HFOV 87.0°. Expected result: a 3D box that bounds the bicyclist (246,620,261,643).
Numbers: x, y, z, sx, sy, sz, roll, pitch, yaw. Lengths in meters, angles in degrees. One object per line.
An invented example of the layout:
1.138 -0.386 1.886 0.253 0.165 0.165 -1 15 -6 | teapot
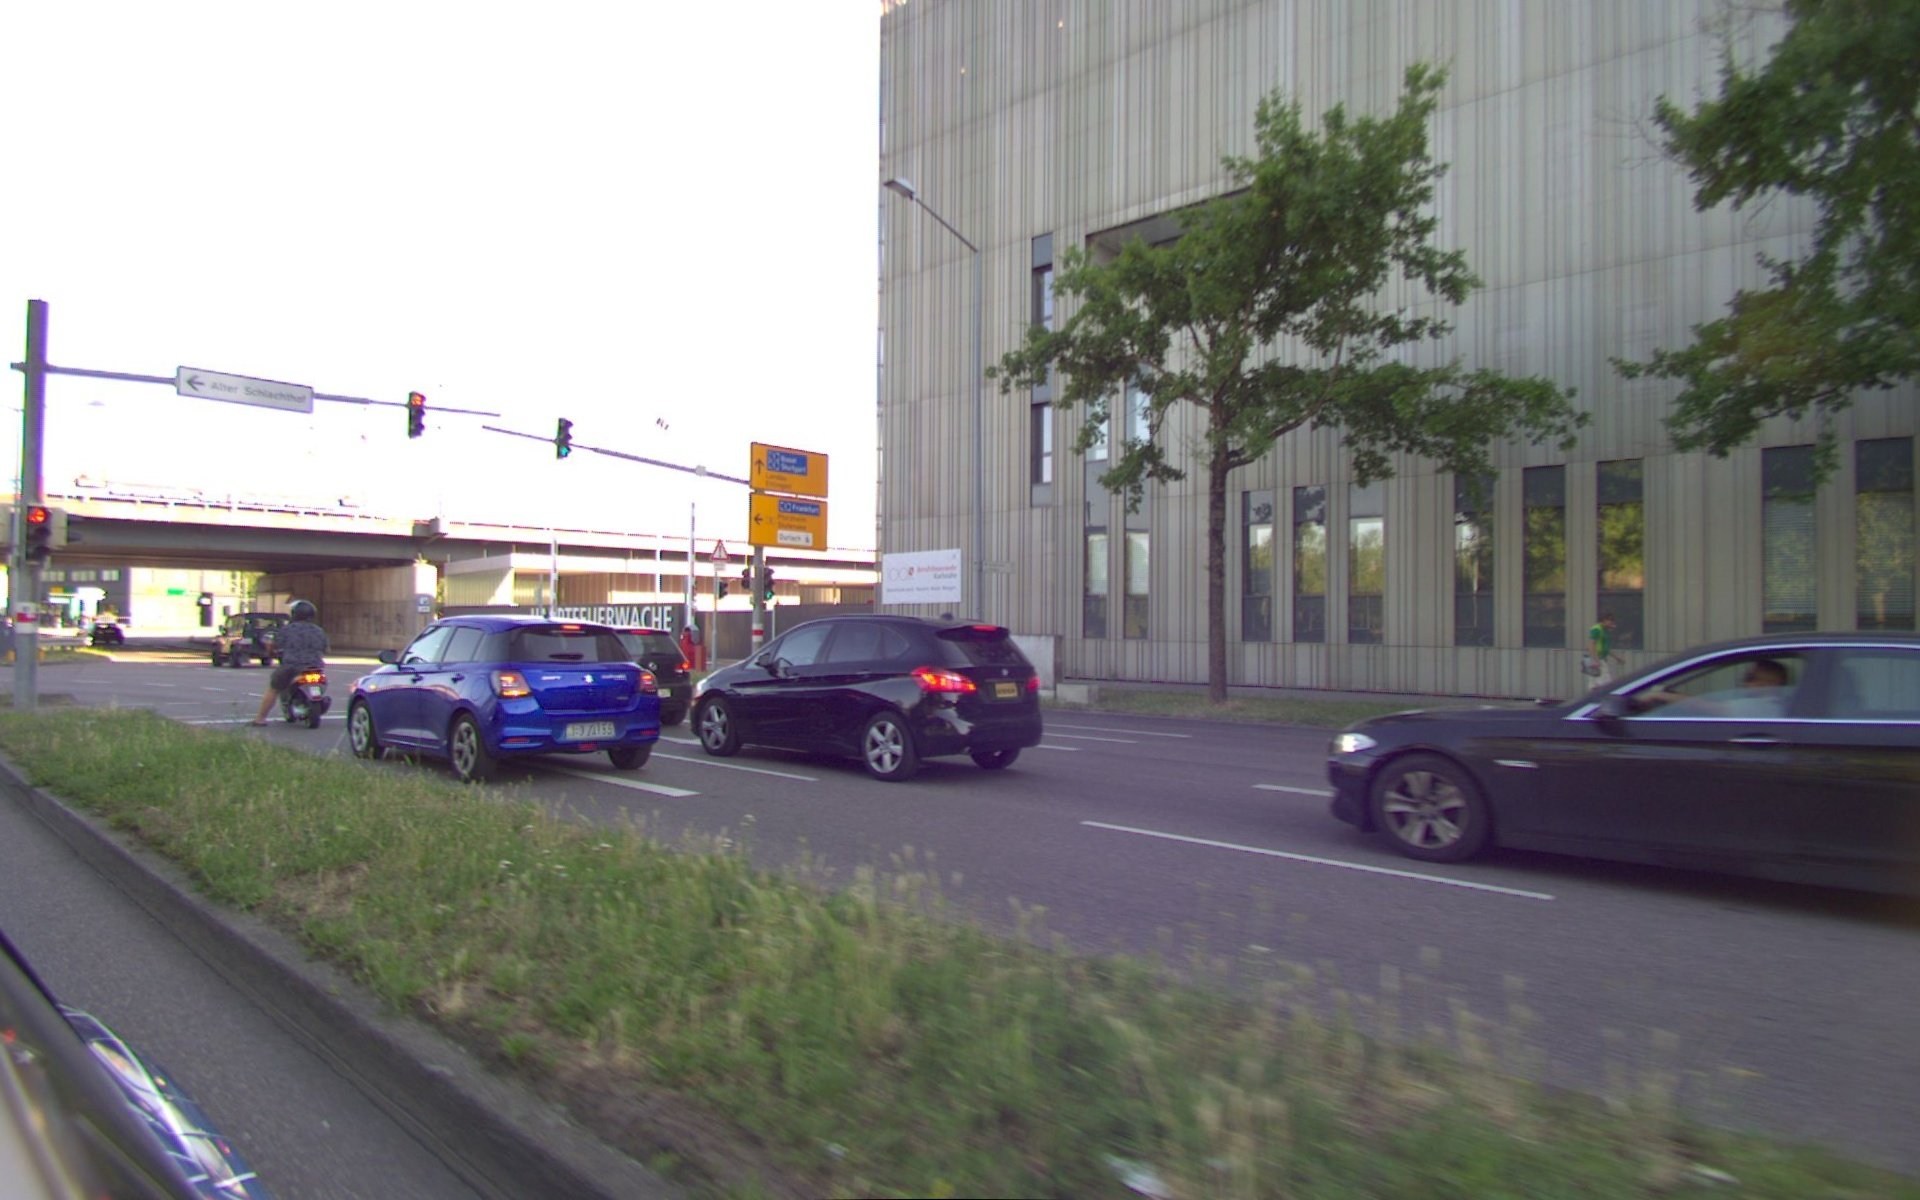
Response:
-48.712 2.153 69.757 0.716 1.575 0.940 0 0 -45 | bicyclist

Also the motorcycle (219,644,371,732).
-9.016 1.151 13.683 2.395 1.084 0.833 -1 -4 35 | motorcycle

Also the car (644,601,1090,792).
-1.153 0.890 10.855 4.711 1.604 1.973 0 -5 40 | car

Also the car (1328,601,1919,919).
4.820 0.822 5.670 4.795 1.463 1.973 0 -5 40 | car

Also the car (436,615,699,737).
-5.957 1.018 15.181 4.077 1.486 1.973 0 1 40 | car

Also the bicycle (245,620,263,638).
-48.605 2.013 69.679 0.697 1.165 2.082 0 -2 -45 | bicycle

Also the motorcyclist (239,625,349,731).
-9.004 1.038 13.685 1.271 1.360 0.790 -2 -4 34 | motorcyclist

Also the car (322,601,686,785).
-4.587 0.806 9.961 3.854 1.463 1.685 0 -5 40 | car

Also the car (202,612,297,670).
-26.137 1.528 37.194 3.990 1.994 1.776 -2 -6 40 | car

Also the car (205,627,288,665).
-33.787 2.165 47.911 4.711 1.604 1.973 0 -5 40 | car

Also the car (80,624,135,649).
-56.478 2.417 67.043 4.345 1.411 1.973 0 -5 40 | car
